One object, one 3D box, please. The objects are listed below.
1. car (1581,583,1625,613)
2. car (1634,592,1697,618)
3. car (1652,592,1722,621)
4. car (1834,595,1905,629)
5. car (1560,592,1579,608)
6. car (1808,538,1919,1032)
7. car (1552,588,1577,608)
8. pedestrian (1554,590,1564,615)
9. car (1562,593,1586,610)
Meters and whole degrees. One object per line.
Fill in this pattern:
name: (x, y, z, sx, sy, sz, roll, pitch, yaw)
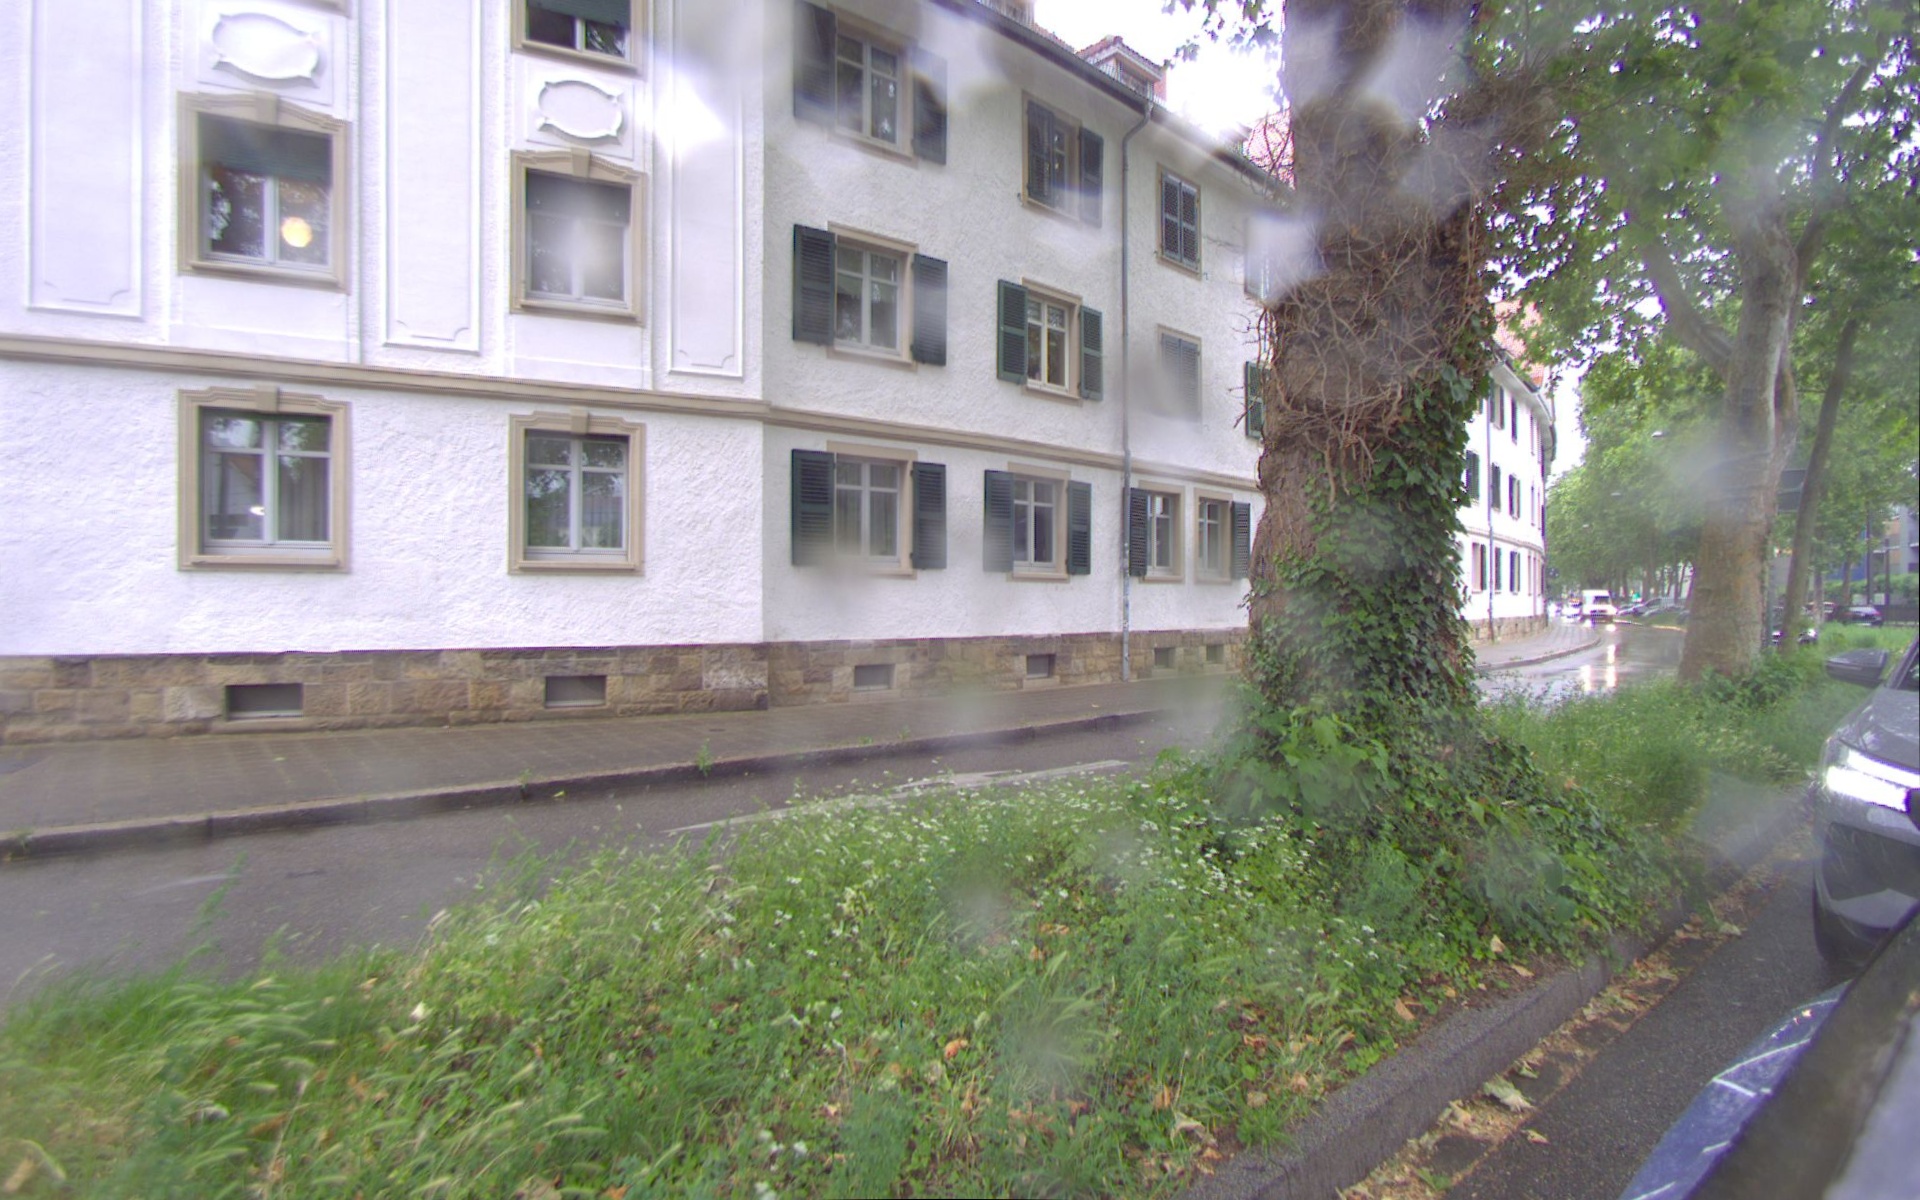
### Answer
car: (50.152, -0.160, 79.044, 2.173, 2.292, 5.366, 0, 0, 24)
car: (55.918, 0.376, 80.287, 3.969, 2.039, 1.977, 0, -1, 32)
car: (52.650, 0.460, 73.382, 3.969, 2.039, 1.977, 0, -1, 32)
car: (45.166, 0.592, 50.355, 1.742, 1.612, 4.190, 0, 0, 30)
car: (86.509, 0.038, 143.633, 1.983, 2.038, 3.961, 5, 3, 28)
car: (5.144, 0.613, 4.309, 4.039, 1.662, 1.913, 0, 0, -44)
car: (64.889, -0.243, 108.677, 1.983, 2.038, 3.961, 5, 3, 28)
pedestrian: (43.681, 0.182, 73.808, 0.668, 1.845, 0.672, 0, 0, 31)
car: (58.967, 0.109, 97.239, 1.816, 1.545, 3.959, 0, 0, 29)
